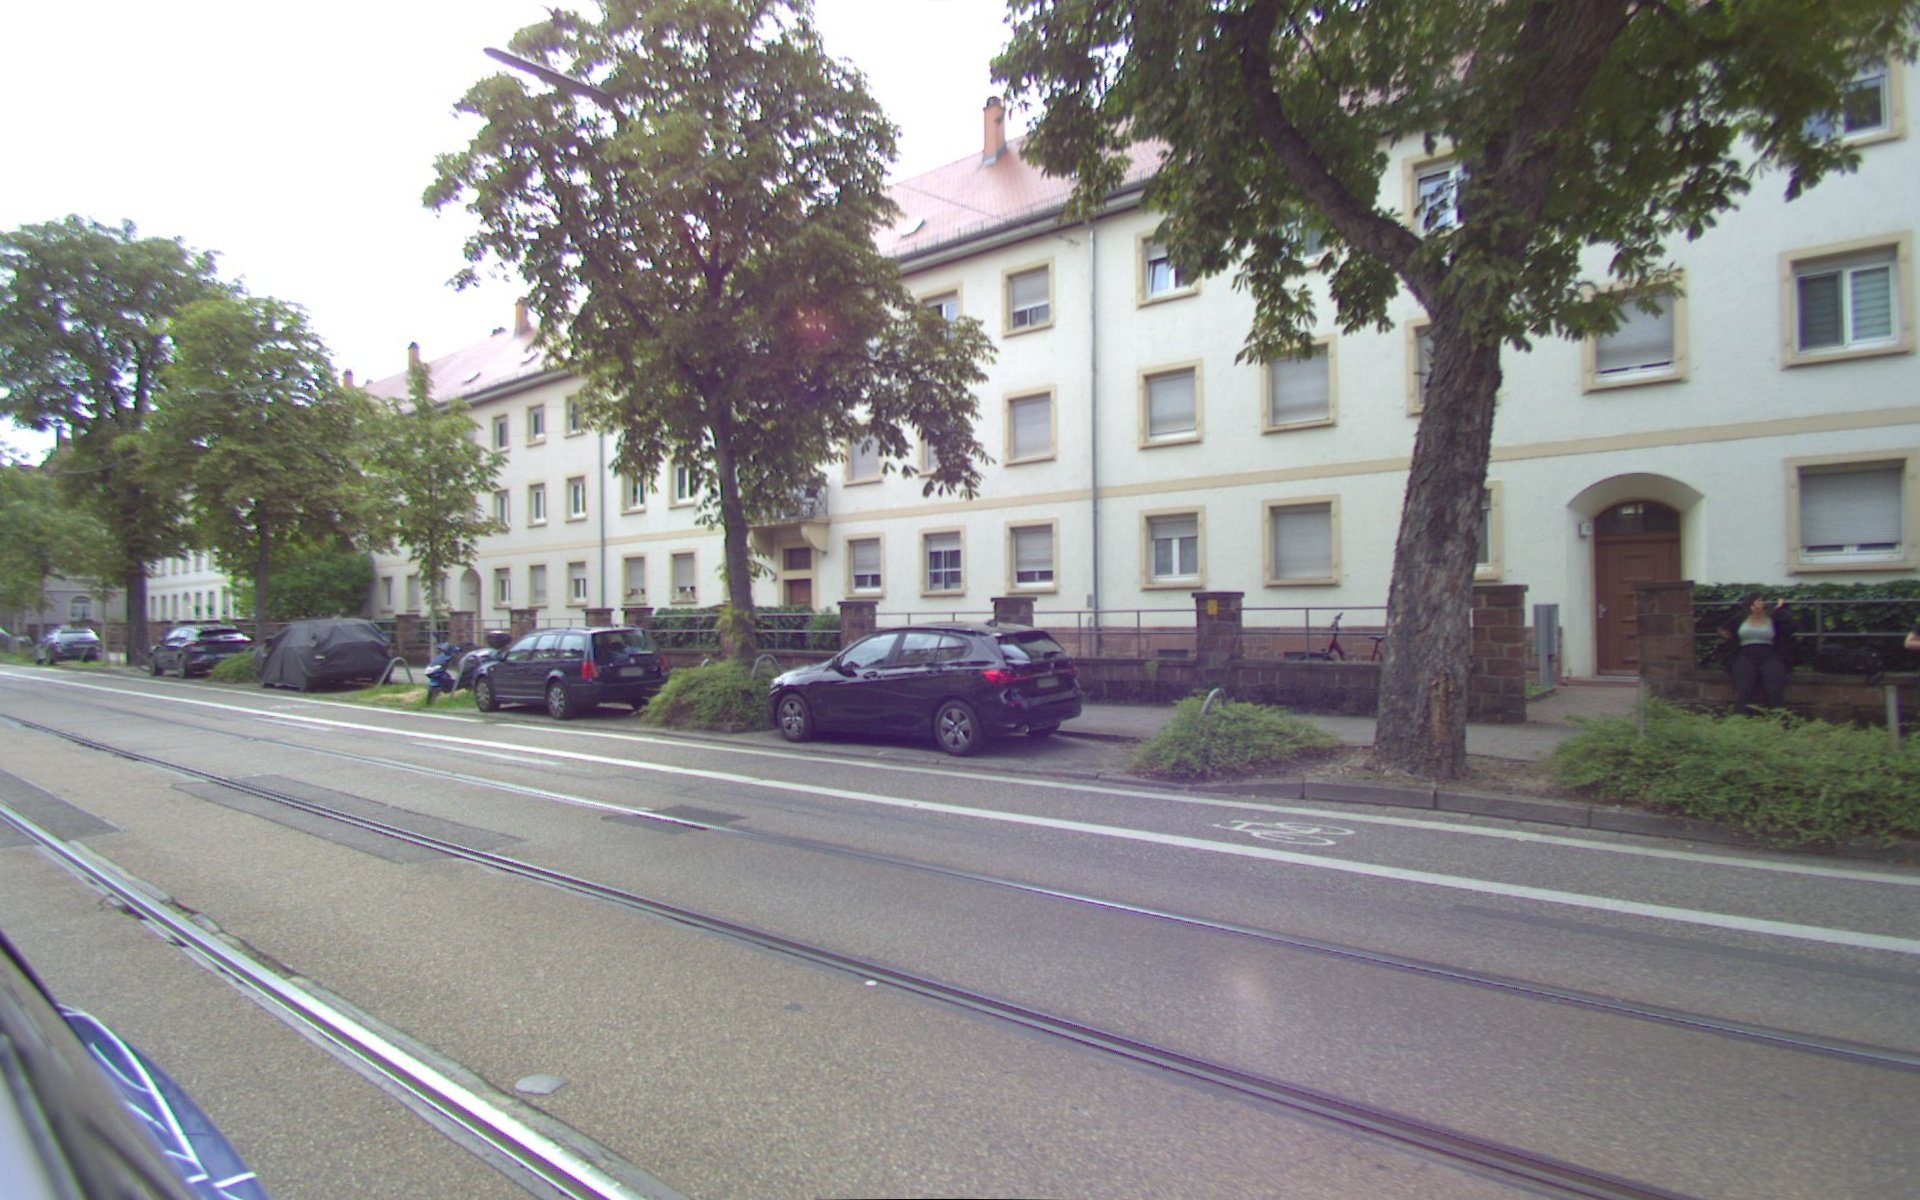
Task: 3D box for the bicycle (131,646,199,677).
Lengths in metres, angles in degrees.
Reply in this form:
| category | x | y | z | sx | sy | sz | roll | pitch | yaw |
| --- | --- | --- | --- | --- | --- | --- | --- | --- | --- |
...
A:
| category | x | y | z | sx | sy | sz | roll | pitch | yaw |
| --- | --- | --- | --- | --- | --- | --- | --- | --- | --- |
| bicycle | -26.358 | 2.033 | 33.588 | 0.670 | 0.978 | 1.655 | -2 | -2 | 30 |

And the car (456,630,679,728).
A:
| category | x | y | z | sx | sy | sz | roll | pitch | yaw |
| --- | --- | --- | --- | --- | --- | --- | --- | --- | --- |
| car | -6.846 | 1.274 | 17.446 | 4.295 | 1.434 | 1.680 | -2 | 0 | 39 |

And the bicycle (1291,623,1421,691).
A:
| category | x | y | z | sx | sy | sz | roll | pitch | yaw |
| --- | --- | --- | --- | --- | --- | --- | --- | --- | --- |
| bicycle | 5.344 | 0.755 | 13.695 | 1.548 | 0.869 | 0.503 | -2 | -2 | 40 |

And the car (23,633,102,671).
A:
| category | x | y | z | sx | sy | sz | roll | pitch | yaw |
| --- | --- | --- | --- | --- | --- | --- | --- | --- | --- |
| car | -37.758 | 2.156 | 42.562 | 4.292 | 1.481 | 1.681 | -1 | -1 | 37 |

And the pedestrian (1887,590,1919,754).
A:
| category | x | y | z | sx | sy | sz | roll | pitch | yaw |
| --- | --- | --- | --- | --- | --- | --- | --- | --- | --- |
| pedestrian | 9.136 | 0.646 | 9.311 | 0.731 | 1.476 | 0.826 | -2 | -2 | 34 |

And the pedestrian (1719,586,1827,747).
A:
| category | x | y | z | sx | sy | sz | roll | pitch | yaw |
| --- | --- | --- | --- | --- | --- | --- | --- | --- | --- |
| pedestrian | 8.120 | 0.642 | 10.148 | 0.731 | 1.524 | 0.826 | -2 | -2 | 34 |

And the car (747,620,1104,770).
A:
| category | x | y | z | sx | sy | sz | roll | pitch | yaw |
| --- | --- | --- | --- | --- | --- | --- | --- | --- | --- |
| car | -0.548 | 1.043 | 12.426 | 4.295 | 1.434 | 1.680 | -2 | 1 | 39 |

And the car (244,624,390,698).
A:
| category | x | y | z | sx | sy | sz | roll | pitch | yaw |
| --- | --- | --- | --- | --- | --- | --- | --- | --- | --- |
| car | -15.745 | 1.433 | 24.705 | 4.295 | 1.624 | 1.768 | -2 | -2 | 39 |

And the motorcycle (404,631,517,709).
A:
| category | x | y | z | sx | sy | sz | roll | pitch | yaw |
| --- | --- | --- | --- | --- | --- | --- | --- | --- | --- |
| motorcycle | -9.793 | 1.348 | 19.911 | 0.590 | 1.269 | 1.851 | -2 | 4 | 35 |

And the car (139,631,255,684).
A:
| category | x | y | z | sx | sy | sz | roll | pitch | yaw |
| --- | --- | --- | --- | --- | --- | --- | --- | --- | --- |
| car | -22.993 | 1.697 | 30.468 | 4.292 | 1.481 | 1.681 | -2 | -2 | 37 |

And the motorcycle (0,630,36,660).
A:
| category | x | y | z | sx | sy | sz | roll | pitch | yaw |
| --- | --- | --- | --- | --- | --- | --- | --- | --- | --- |
| motorcycle | -49.793 | 2.405 | 52.636 | 2.278 | 1.400 | 0.840 | -5 | 3 | -19 |
